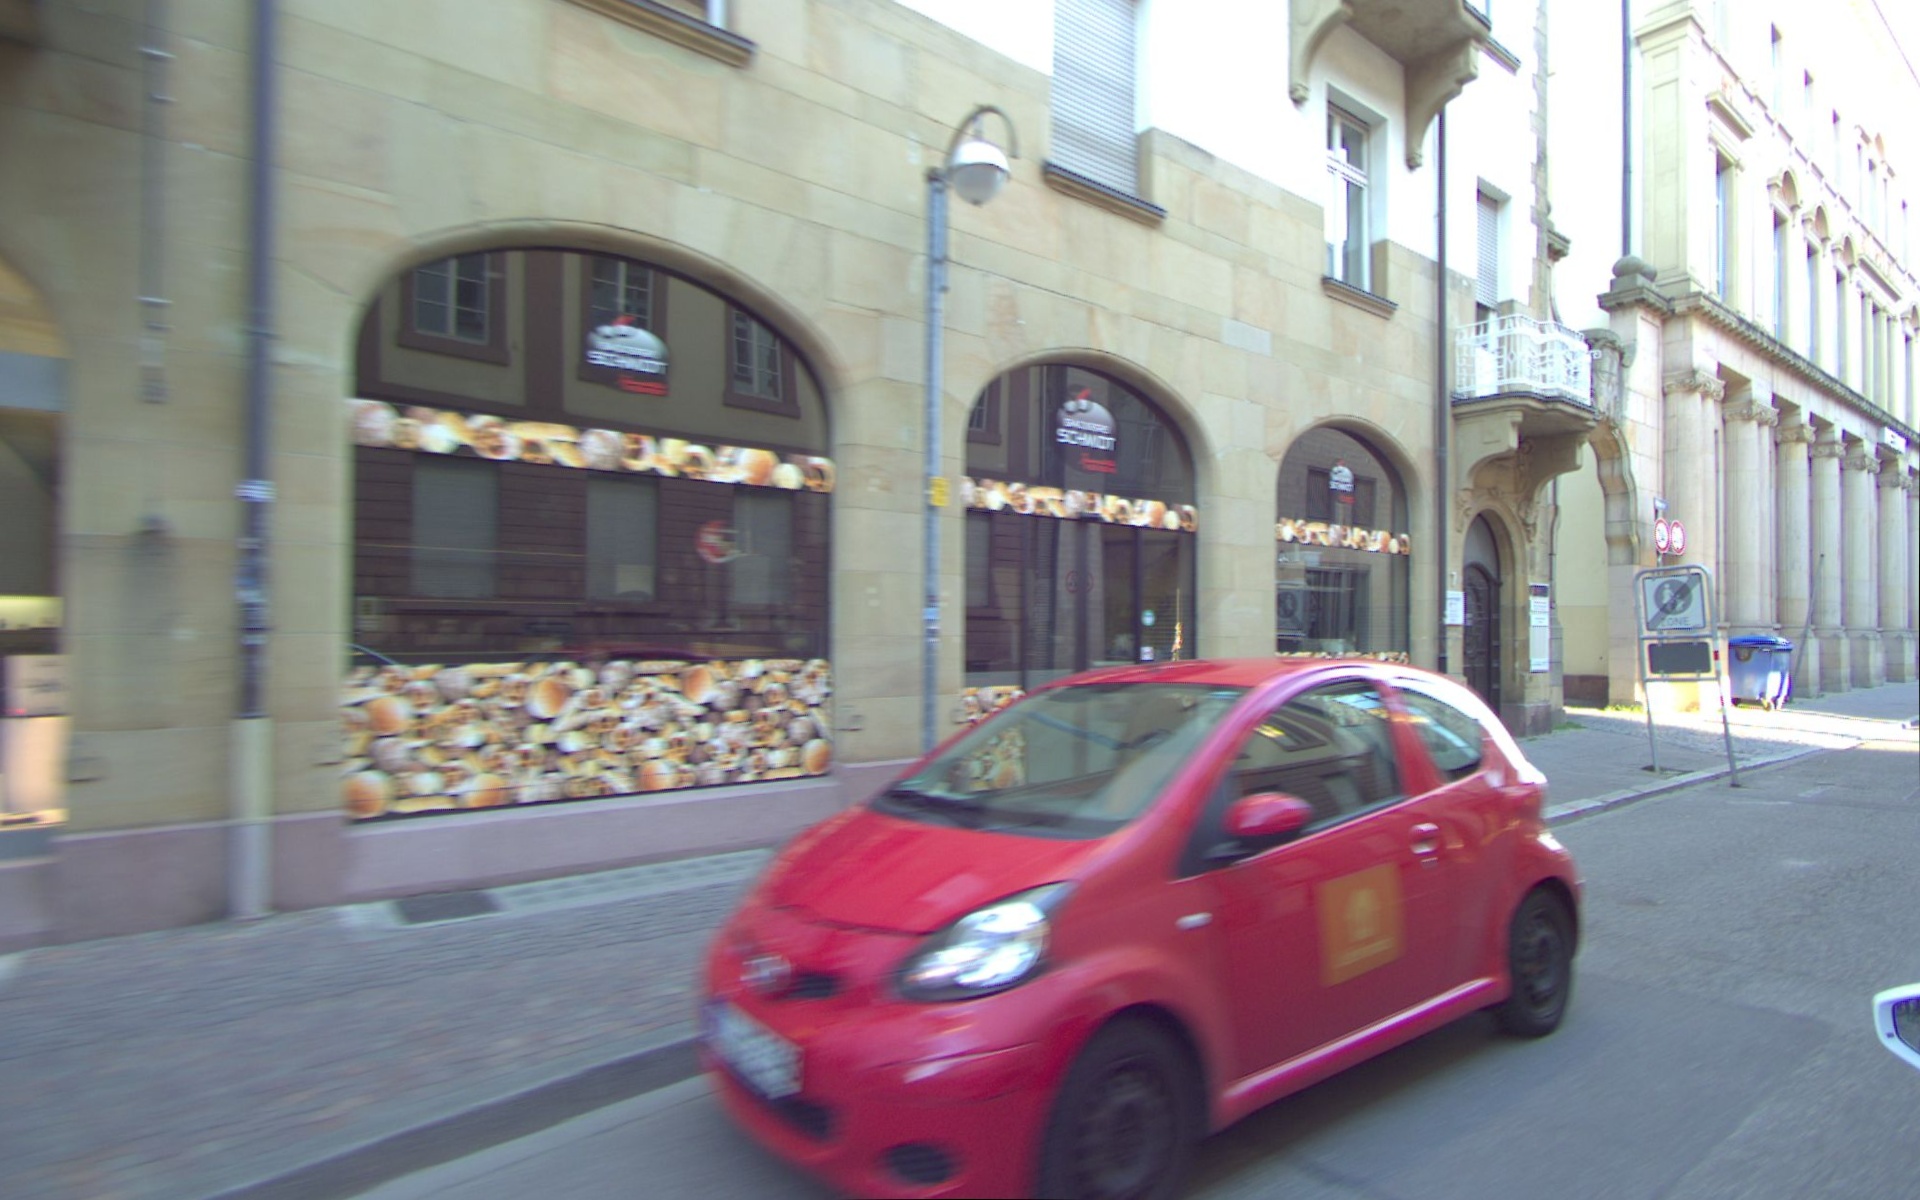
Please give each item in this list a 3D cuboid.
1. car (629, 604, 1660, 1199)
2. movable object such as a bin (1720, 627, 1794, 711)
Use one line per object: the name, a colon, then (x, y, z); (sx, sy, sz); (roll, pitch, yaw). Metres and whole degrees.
car: (0.969, 0.883, 3.816); (3.896, 1.488, 1.646); (3, -4, -37)
movable object such as a bin: (15.095, 1.280, 19.029); (1.279, 1.523, 0.823); (1, -1, -37)
